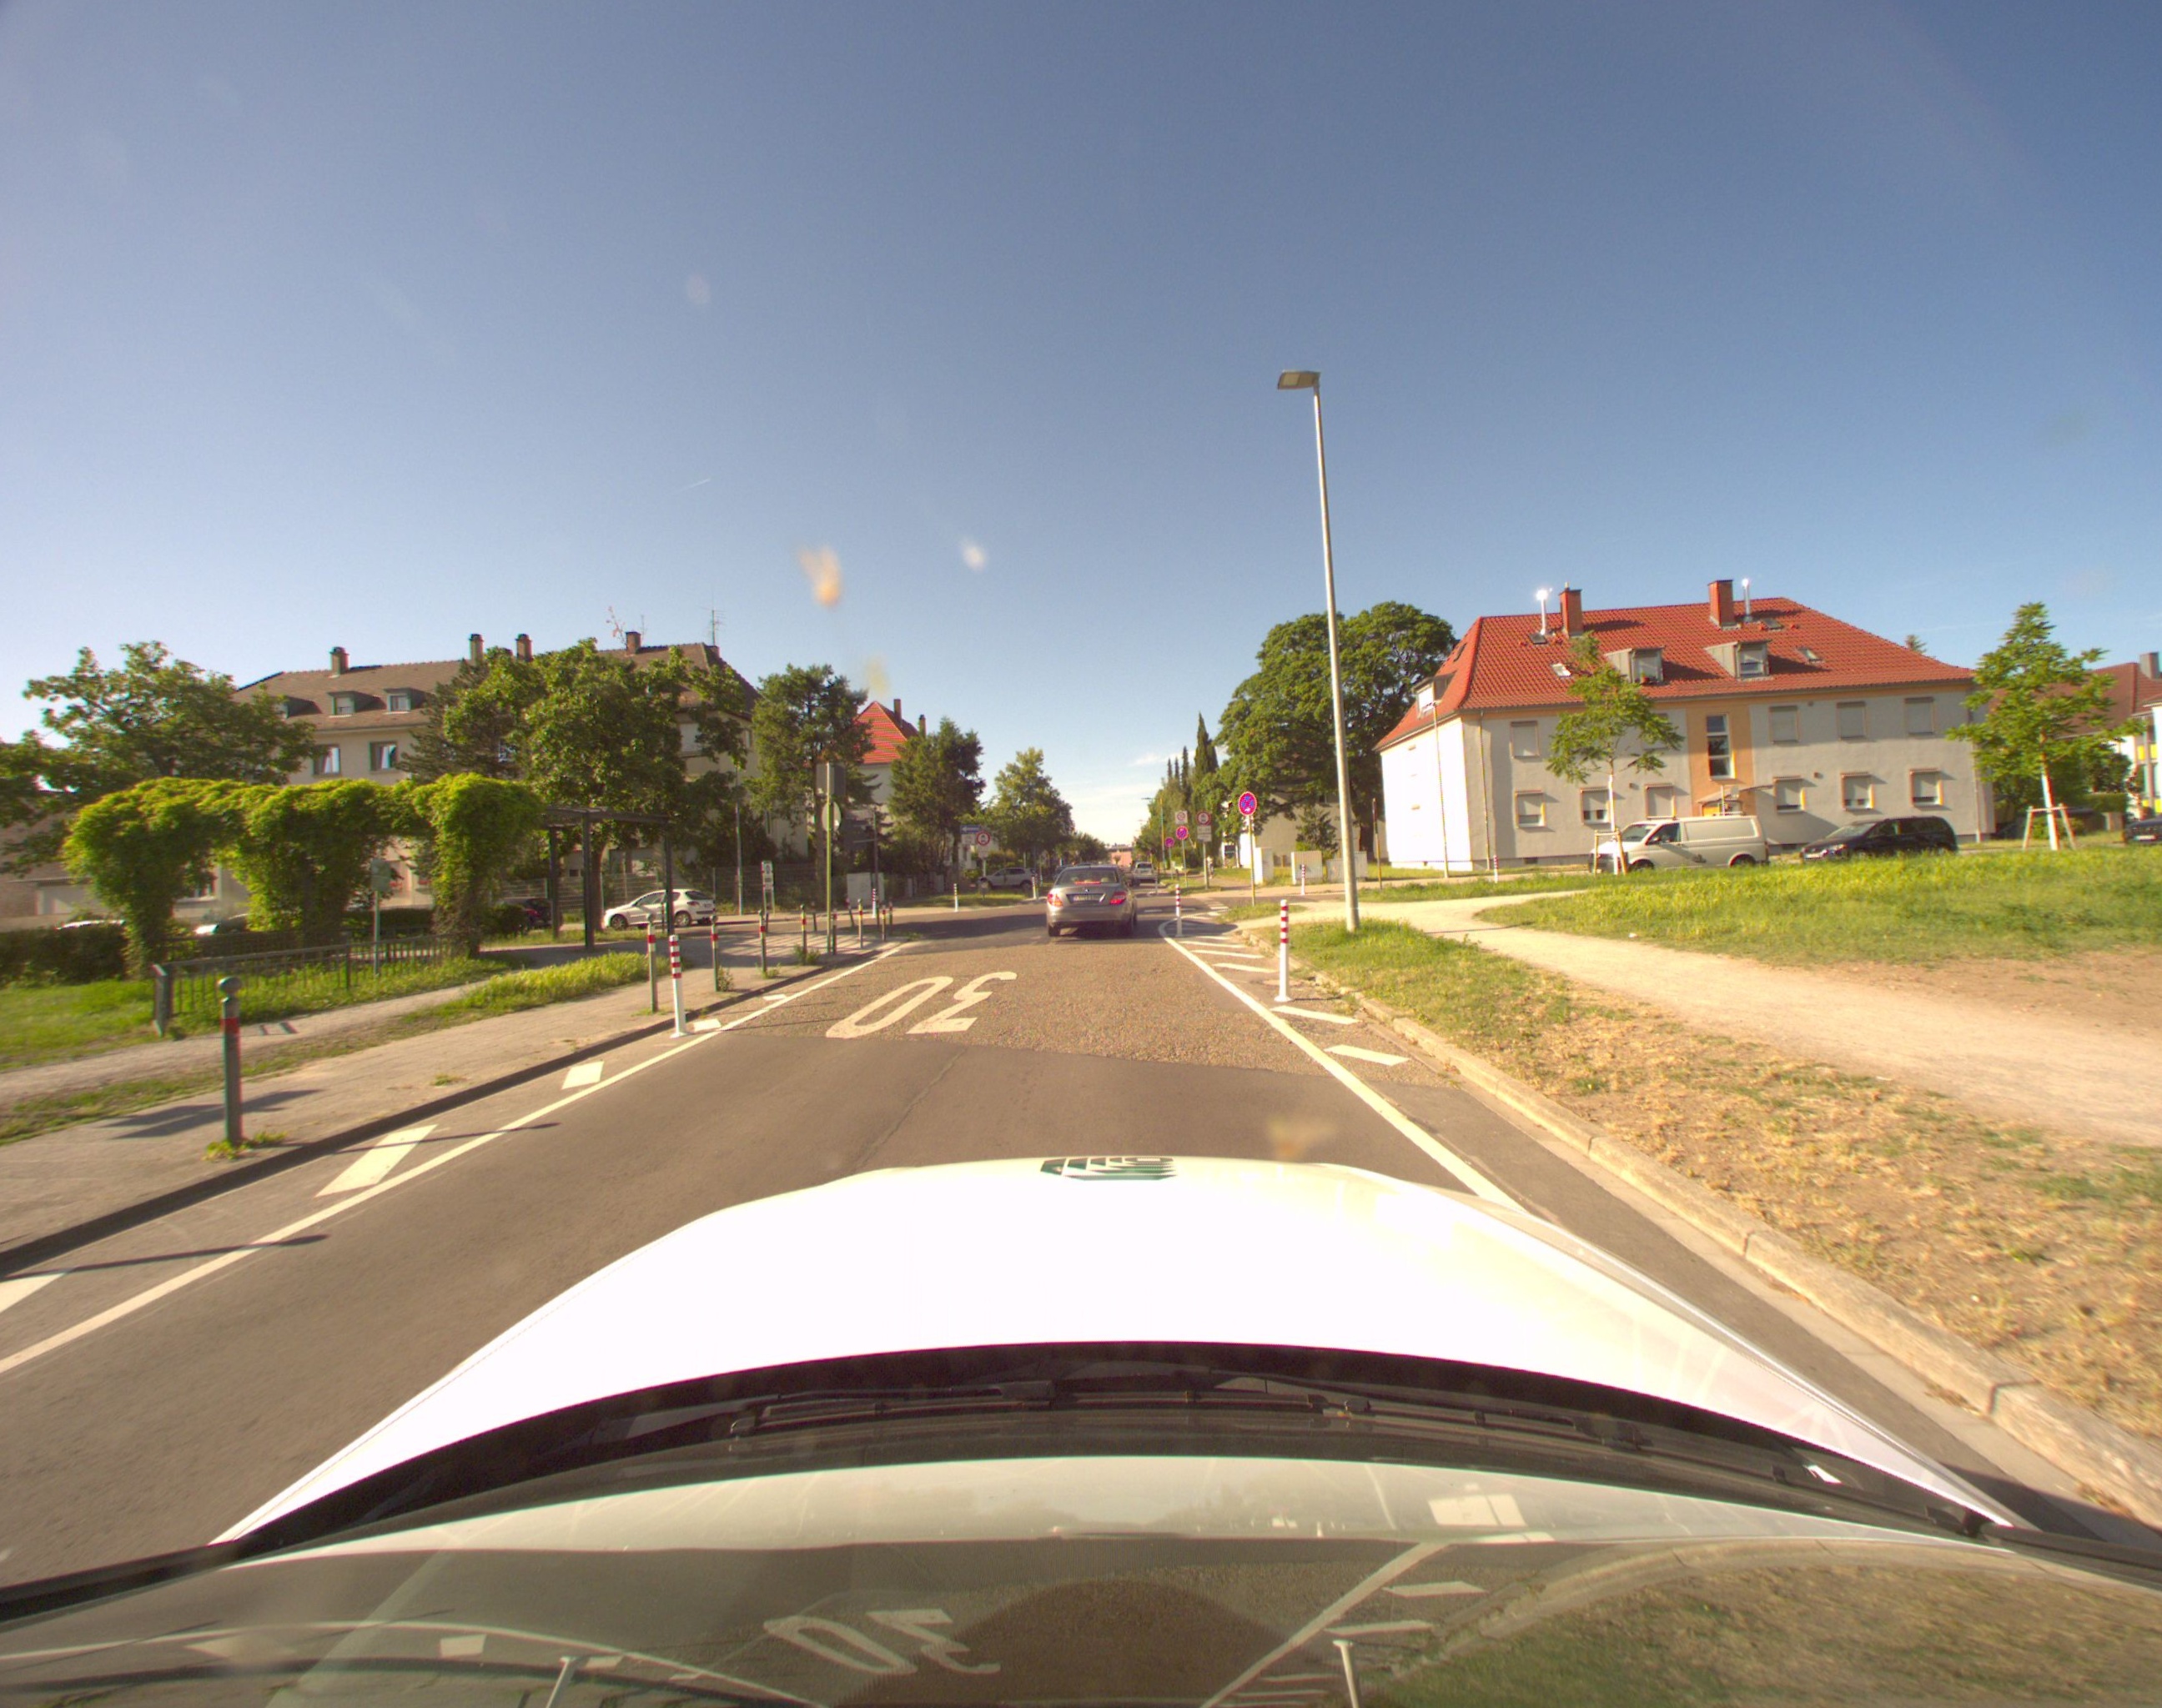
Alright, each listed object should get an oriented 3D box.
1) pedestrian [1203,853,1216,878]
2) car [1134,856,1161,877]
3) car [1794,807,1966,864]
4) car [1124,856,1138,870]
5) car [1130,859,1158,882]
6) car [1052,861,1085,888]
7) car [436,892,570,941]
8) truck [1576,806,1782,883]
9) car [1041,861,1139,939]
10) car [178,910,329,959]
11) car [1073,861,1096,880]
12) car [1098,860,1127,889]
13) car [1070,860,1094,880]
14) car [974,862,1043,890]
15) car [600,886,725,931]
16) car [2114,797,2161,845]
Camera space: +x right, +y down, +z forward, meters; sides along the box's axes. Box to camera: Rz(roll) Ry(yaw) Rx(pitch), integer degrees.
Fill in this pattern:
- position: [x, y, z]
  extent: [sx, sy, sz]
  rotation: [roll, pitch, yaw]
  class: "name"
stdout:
- position: [8.626, 0.744, 54.611]
  extent: [0.762, 1.611, 0.836]
  rotation: [-3, -1, 8]
  class: "pedestrian"
- position: [5.734, 1.089, 70.159]
  extent: [1.986, 1.609, 4.001]
  rotation: [-3, -1, 1]
  class: "car"
- position: [27.415, -0.623, 28.043]
  extent: [4.033, 1.664, 1.723]
  rotation: [-3, -1, 3]
  class: "car"
- position: [7.013, 1.266, 115.211]
  extent: [1.847, 1.841, 4.002]
  rotation: [-3, -1, 2]
  class: "car"
- position: [4.583, 1.178, 59.375]
  extent: [1.727, 1.480, 3.726]
  rotation: [-3, -1, 1]
  class: "car"
- position: [-0.843, 1.437, 57.280]
  extent: [1.987, 1.609, 4.001]
  rotation: [-7, -1, 1]
  class: "car"
- position: [-21.514, 2.308, 30.408]
  extent: [3.798, 1.495, 1.678]
  rotation: [-4, -2, 3]
  class: "car"
- position: [18.655, -0.286, 25.598]
  extent: [4.838, 2.036, 2.001]
  rotation: [-3, -1, 2]
  class: "truck"
- position: [0.312, 0.904, 17.744]
  extent: [1.828, 1.441, 4.004]
  rotation: [-3, -1, 4]
  class: "car"
- position: [-31.479, 3.051, 31.060]
  extent: [3.970, 1.495, 1.802]
  rotation: [-4, -2, 3]
  class: "car"
- position: [0.391, 1.654, 80.868]
  extent: [1.987, 1.609, 4.001]
  rotation: [-7, -1, 1]
  class: "car"
- position: [1.881, 1.202, 48.906]
  extent: [1.591, 1.609, 3.644]
  rotation: [-3, 0, 1]
  class: "car"
- position: [0.113, 1.470, 75.079]
  extent: [1.987, 1.609, 4.001]
  rotation: [-7, -1, 1]
  class: "car"
- position: [-4.638, 1.407, 52.280]
  extent: [4.179, 1.564, 1.842]
  rotation: [-2, -1, 0]
  class: "car"
- position: [-15.544, 2.013, 30.360]
  extent: [3.749, 1.398, 1.708]
  rotation: [-4, -2, 2]
  class: "car"
- position: [38.147, -1.235, 27.500]
  extent: [4.109, 1.583, 1.723]
  rotation: [-3, -1, 3]
  class: "car"
